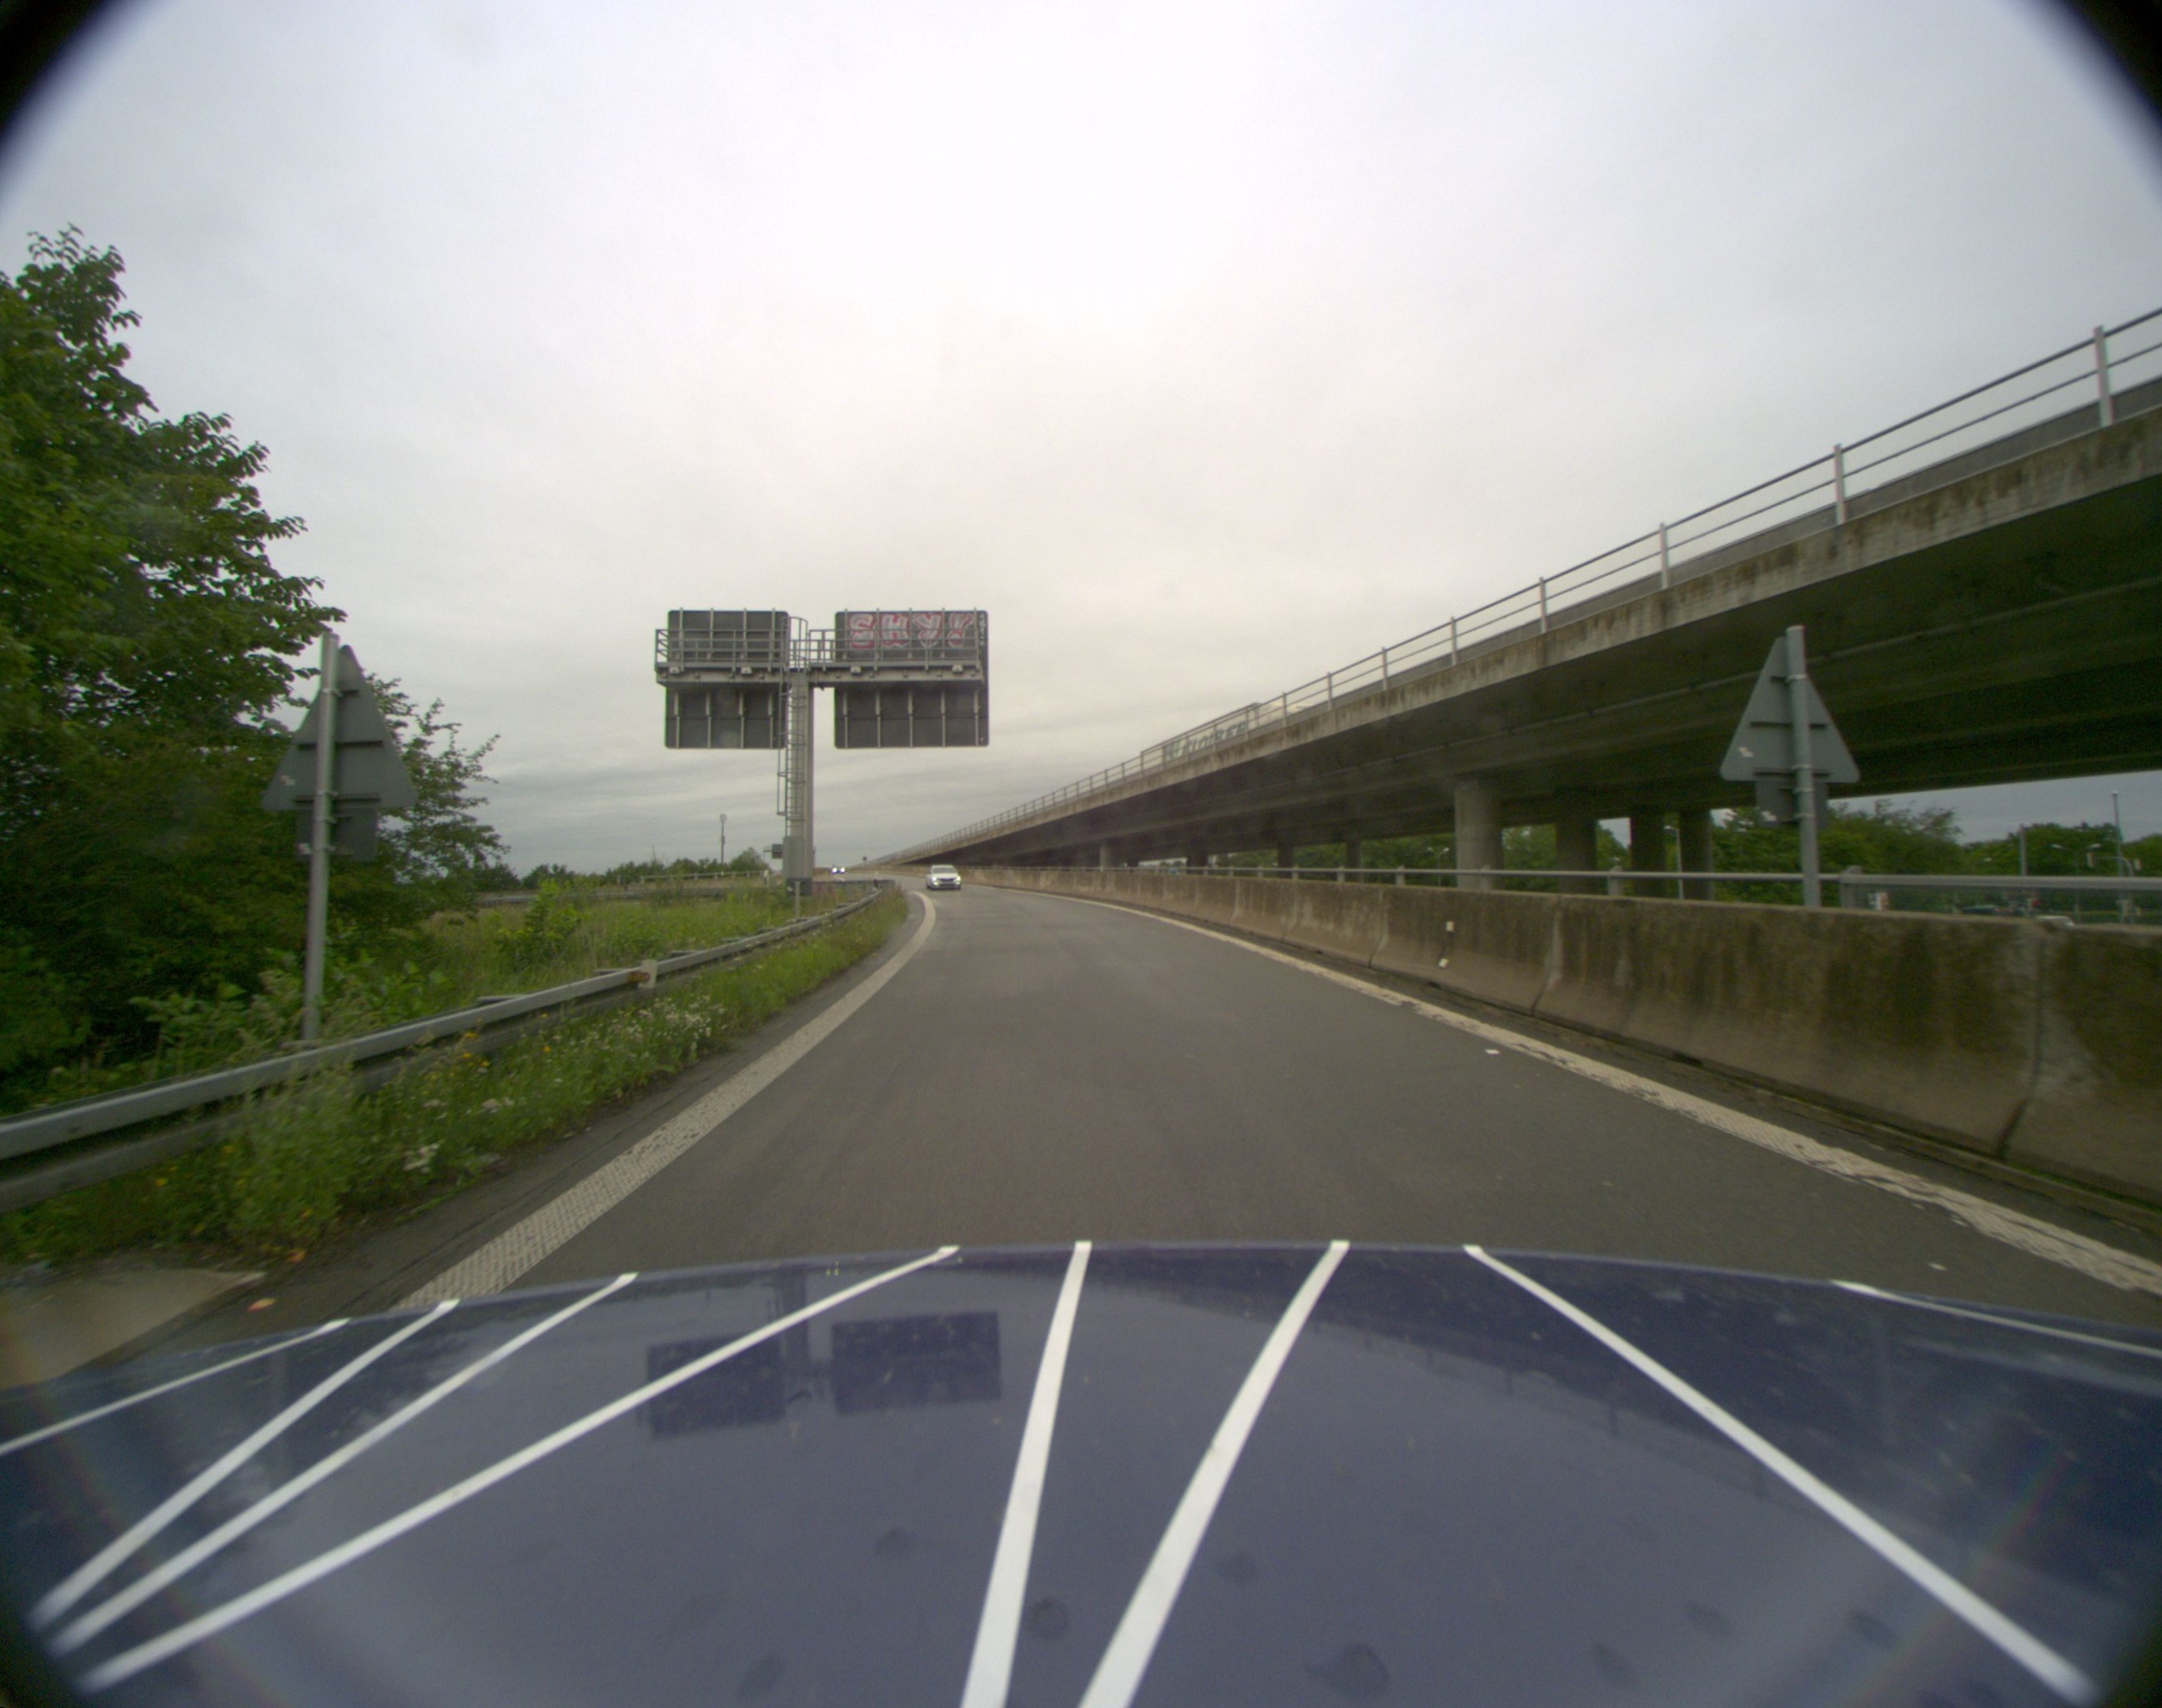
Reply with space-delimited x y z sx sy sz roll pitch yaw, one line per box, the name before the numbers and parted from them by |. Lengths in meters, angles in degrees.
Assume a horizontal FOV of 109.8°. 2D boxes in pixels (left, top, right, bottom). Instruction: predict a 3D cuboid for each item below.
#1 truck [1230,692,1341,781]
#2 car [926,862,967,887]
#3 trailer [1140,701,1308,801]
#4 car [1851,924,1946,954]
truck | 9.840 -5.576 37.040 2.599 3.225 5.188 -1 -2 -20
car | -8.264 1.253 46.246 1.918 1.439 4.550 1 -1 -17
trailer | 7.502 -5.430 43.573 2.668 3.277 14.042 -1 -2 -20
car | 60.070 6.219 55.912 1.812 1.739 4.357 -3 -1 -27
